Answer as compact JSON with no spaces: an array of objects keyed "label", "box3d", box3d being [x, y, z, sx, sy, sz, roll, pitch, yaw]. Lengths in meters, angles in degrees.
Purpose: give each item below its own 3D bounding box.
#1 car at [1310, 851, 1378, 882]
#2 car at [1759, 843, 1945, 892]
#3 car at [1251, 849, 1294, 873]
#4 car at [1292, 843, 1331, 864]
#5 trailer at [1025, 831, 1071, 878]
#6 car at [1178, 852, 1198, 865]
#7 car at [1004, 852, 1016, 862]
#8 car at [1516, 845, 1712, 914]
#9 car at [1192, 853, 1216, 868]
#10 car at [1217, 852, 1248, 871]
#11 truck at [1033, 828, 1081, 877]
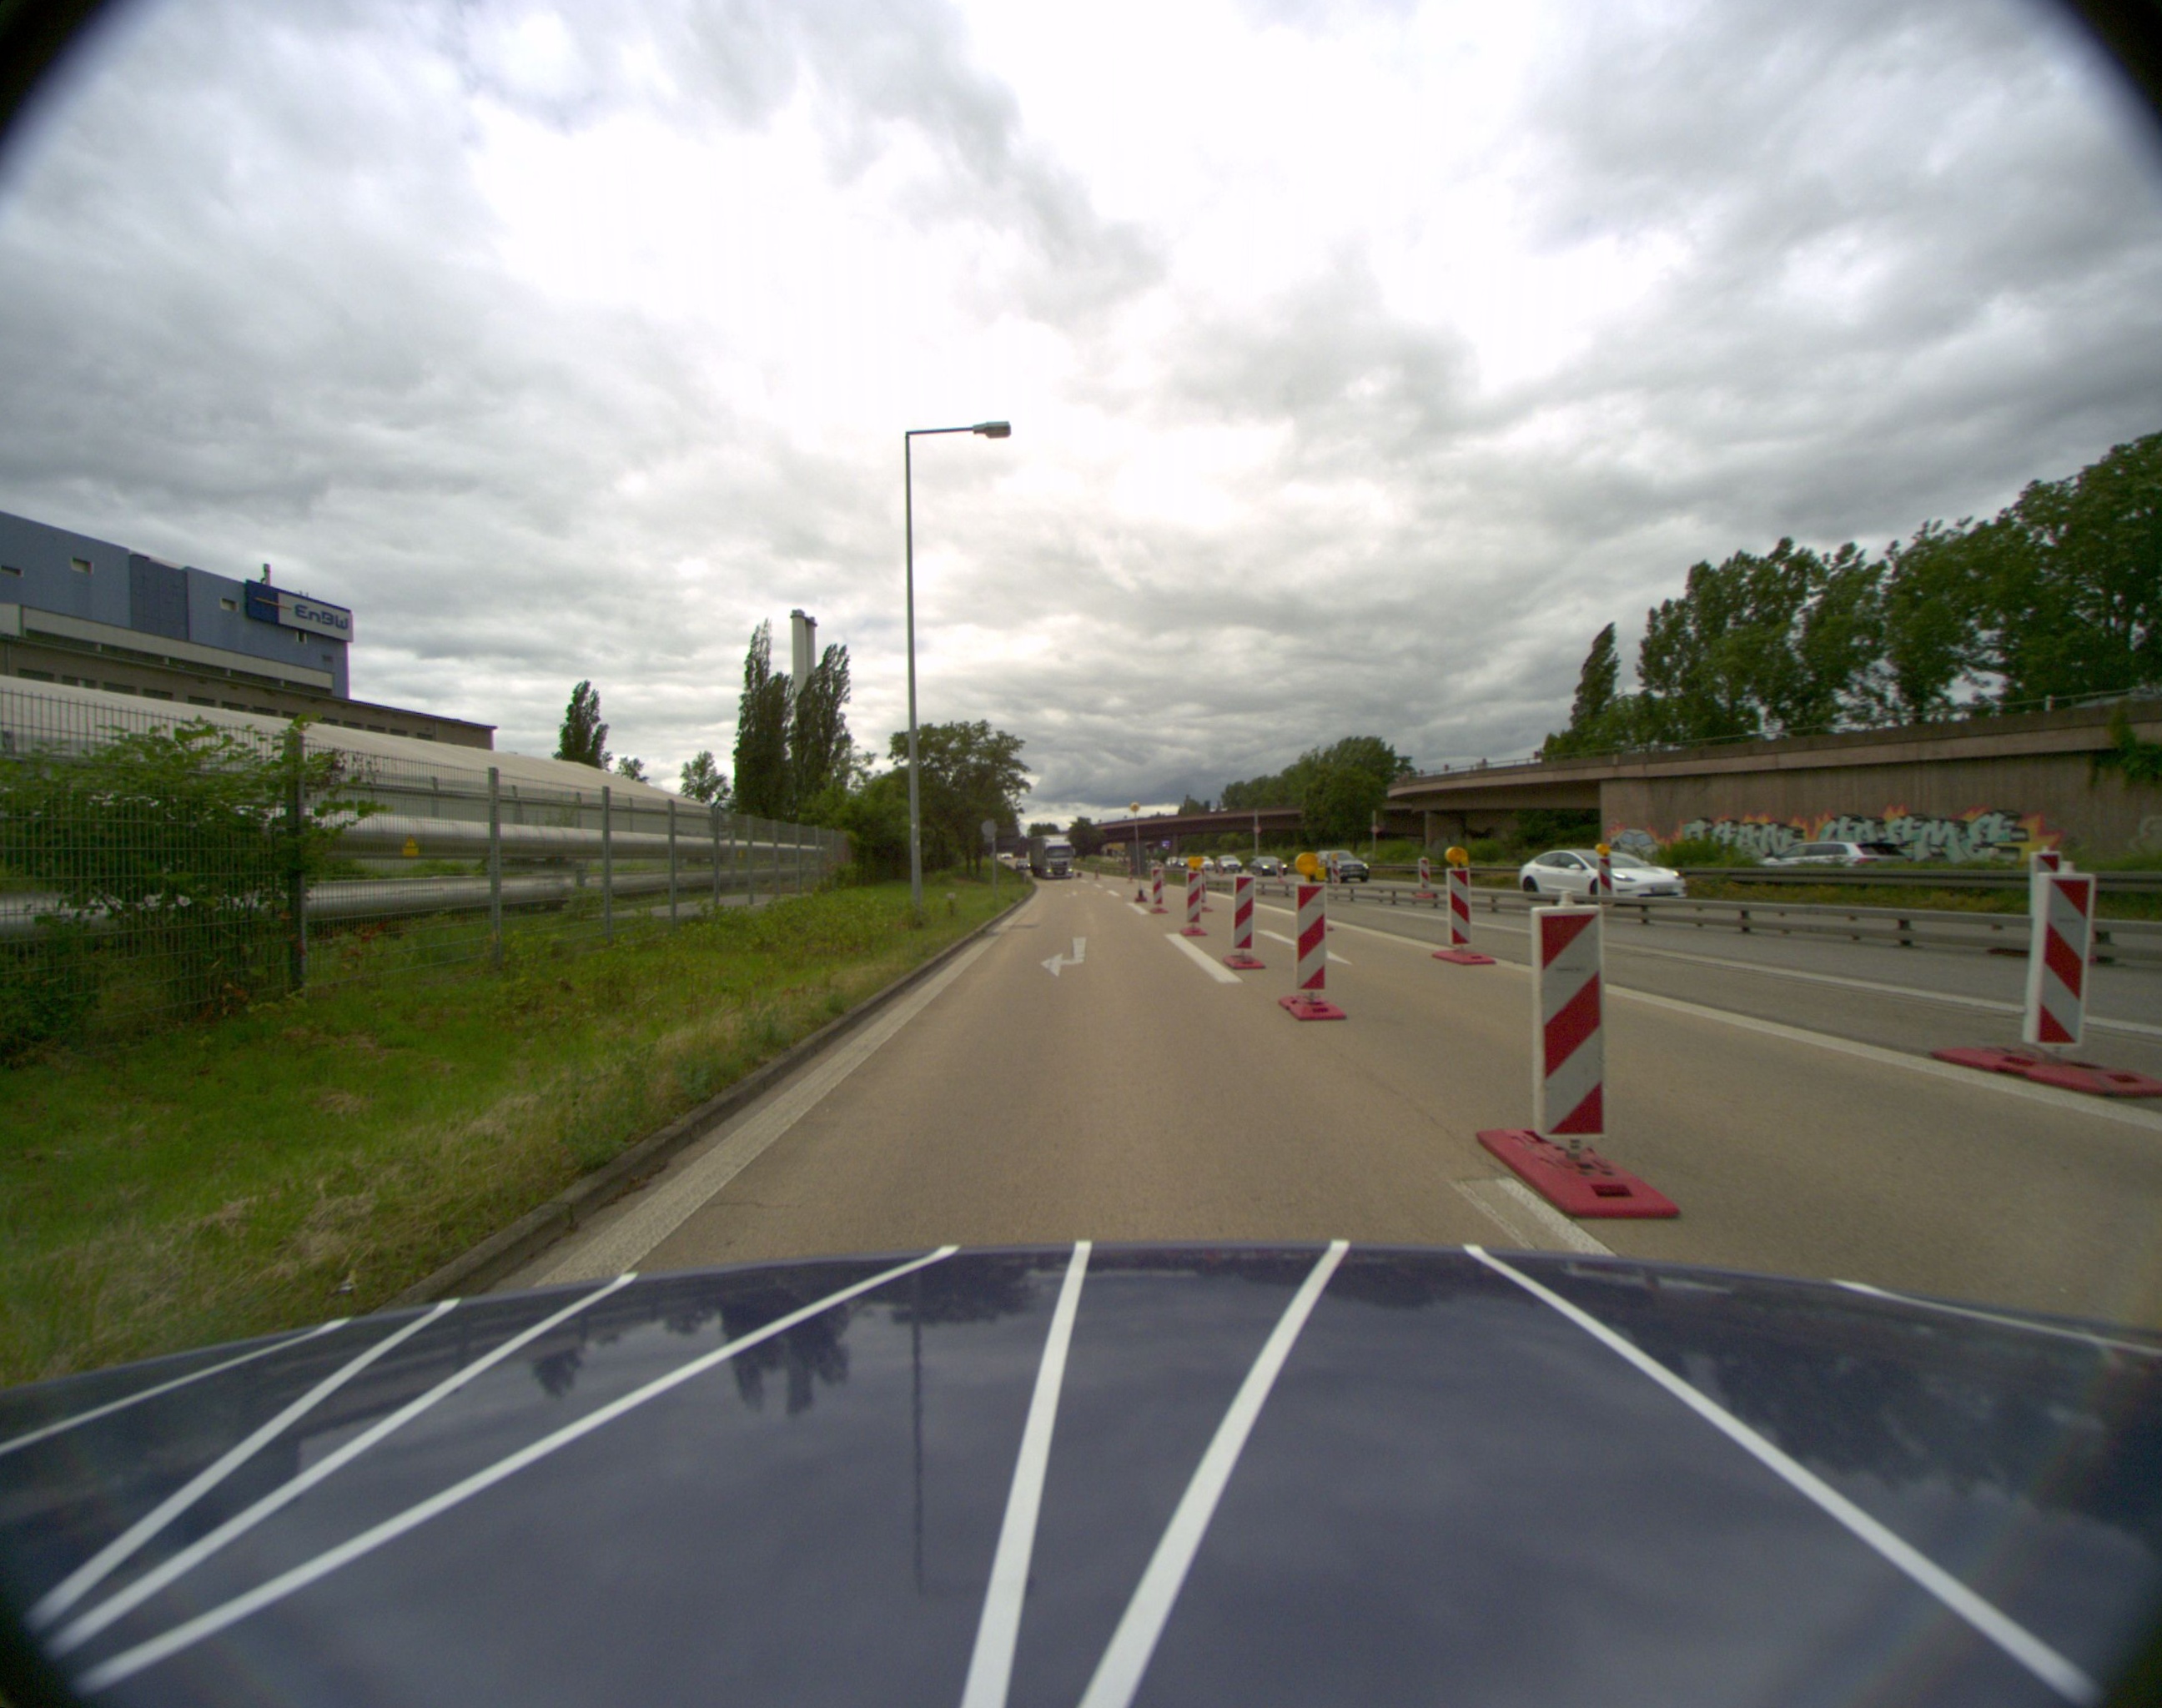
[{"label":"car","box3d":[13.613,0.614,39.591,1.980,1.502,4.291,-1,0,-1]},{"label":"car","box3d":[24.676,0.391,24.559,1.894,1.444,3.978,-1,0,-2]},{"label":"car","box3d":[13.866,0.481,55.225,1.936,1.693,3.998,-1,0,-4]},{"label":"car","box3d":[19.329,-0.083,63.960,1.859,1.631,4.291,-2,0,-1]},{"label":"trailer","box3d":[-3.570,0.077,78.121,3.166,4.298,13.254,-3,0,-9]},{"label":"car","box3d":[13.565,0.527,96.644,1.998,1.585,4.292,-1,0,0]},{"label":"car","box3d":[-13.498,0.523,143.849,1.993,1.851,3.937,0,0,-11]},{"label":"car","box3d":[13.733,0.577,19.972,1.998,1.533,4.459,-2,0,0]},{"label":"car","box3d":[13.430,0.695,83.232,1.998,1.585,4.000,-1,0,0]},{"label":"car","box3d":[13.524,0.640,68.148,1.803,1.503,3.998,-1,1,-3]},{"label":"truck","box3d":[-2.349,-0.111,70.403,3.164,4.106,8.134,-3,0,-10]}]
